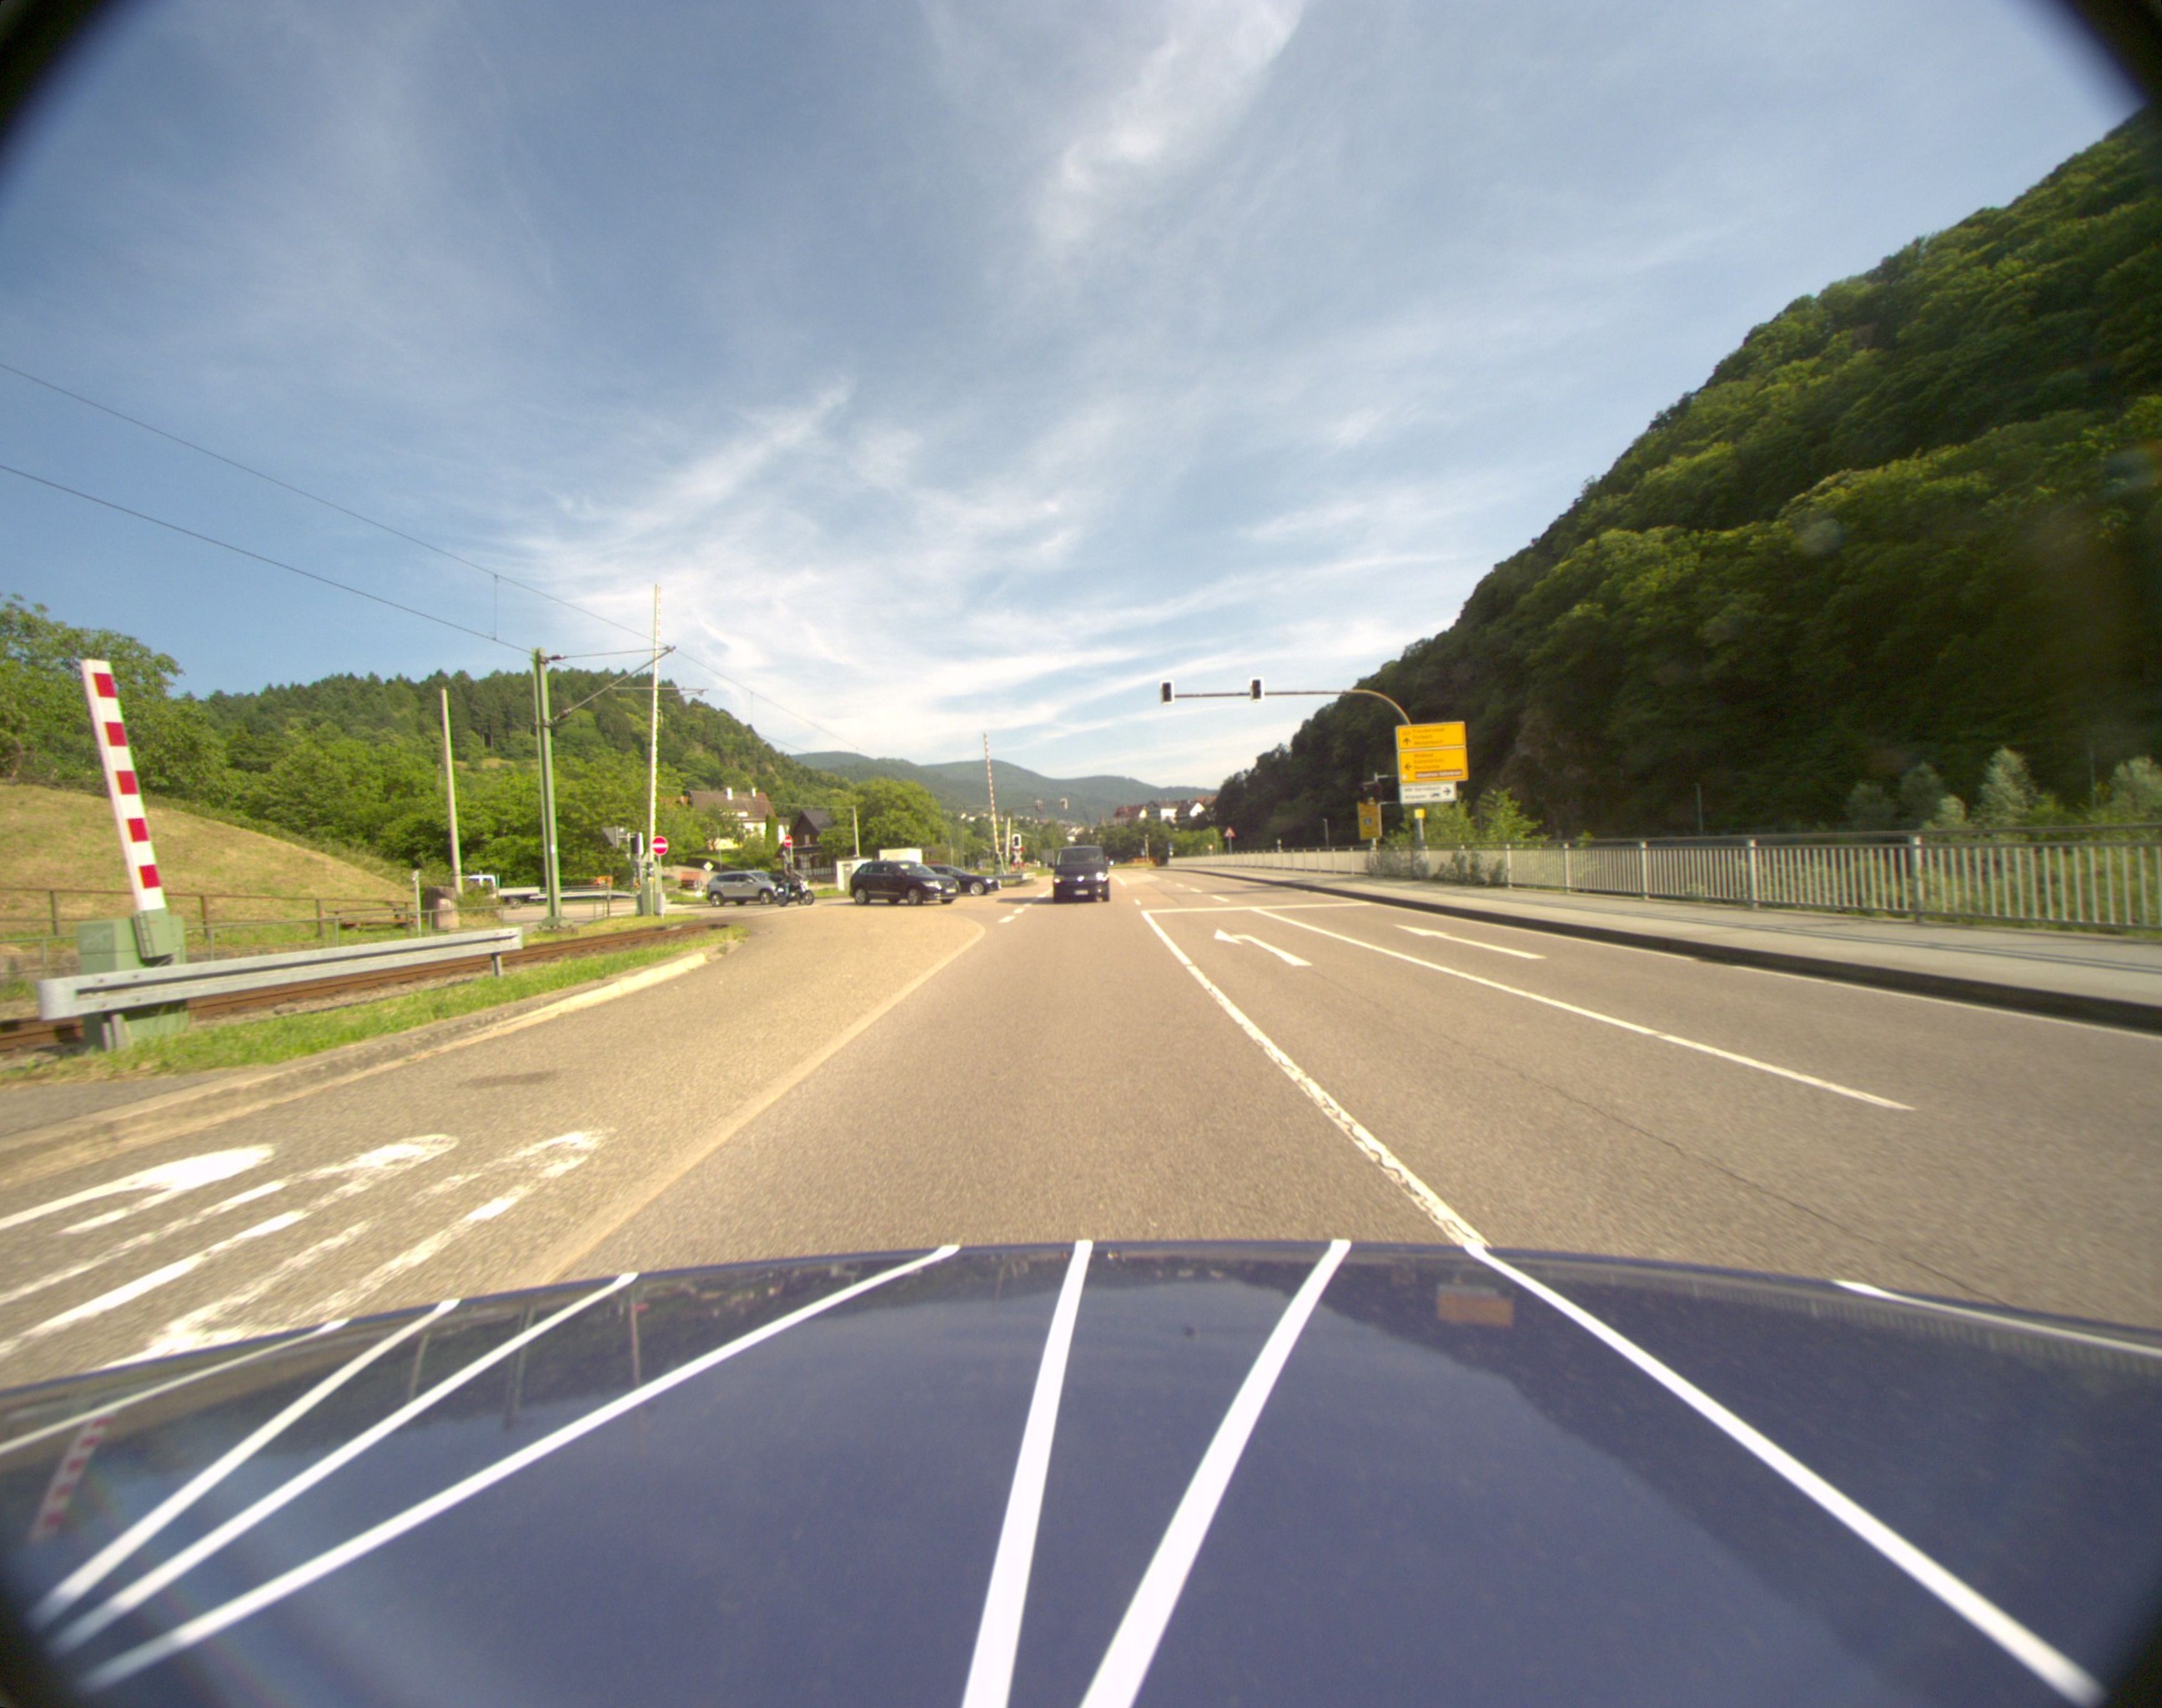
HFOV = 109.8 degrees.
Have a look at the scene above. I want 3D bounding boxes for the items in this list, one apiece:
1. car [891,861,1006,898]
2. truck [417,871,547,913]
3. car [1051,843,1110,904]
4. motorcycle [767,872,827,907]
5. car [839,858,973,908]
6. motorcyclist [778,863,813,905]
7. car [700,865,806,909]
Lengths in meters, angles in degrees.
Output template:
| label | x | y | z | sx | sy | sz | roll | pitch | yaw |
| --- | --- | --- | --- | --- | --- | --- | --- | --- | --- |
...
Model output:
| label | x | y | z | sx | sy | sz | roll | pitch | yaw |
| --- | --- | --- | --- | --- | --- | --- | --- | --- | --- |
| car | -5.868 | 1.119 | 34.030 | 4.737 | 1.461 | 1.842 | -2 | 0 | 3 |
| truck | -37.820 | 2.349 | 48.228 | 2.402 | 2.220 | 5.946 | -1 | 1 | 23 |
| car | -0.051 | 0.651 | 27.044 | 1.865 | 1.936 | 4.638 | -2 | 0 | -1 |
| motorcycle | -11.254 | 1.413 | 30.087 | 2.096 | 1.247 | 0.800 | -4 | 0 | 19 |
| car | -6.463 | 1.060 | 27.869 | 4.729 | 1.650 | 1.934 | -2 | 0 | 32 |
| motorcyclist | -11.294 | 1.187 | 30.099 | 0.908 | 1.587 | 0.766 | -4 | 0 | 18 |
| car | -15.075 | 1.515 | 35.022 | 4.119 | 1.677 | 1.837 | -4 | 0 | 14 |
